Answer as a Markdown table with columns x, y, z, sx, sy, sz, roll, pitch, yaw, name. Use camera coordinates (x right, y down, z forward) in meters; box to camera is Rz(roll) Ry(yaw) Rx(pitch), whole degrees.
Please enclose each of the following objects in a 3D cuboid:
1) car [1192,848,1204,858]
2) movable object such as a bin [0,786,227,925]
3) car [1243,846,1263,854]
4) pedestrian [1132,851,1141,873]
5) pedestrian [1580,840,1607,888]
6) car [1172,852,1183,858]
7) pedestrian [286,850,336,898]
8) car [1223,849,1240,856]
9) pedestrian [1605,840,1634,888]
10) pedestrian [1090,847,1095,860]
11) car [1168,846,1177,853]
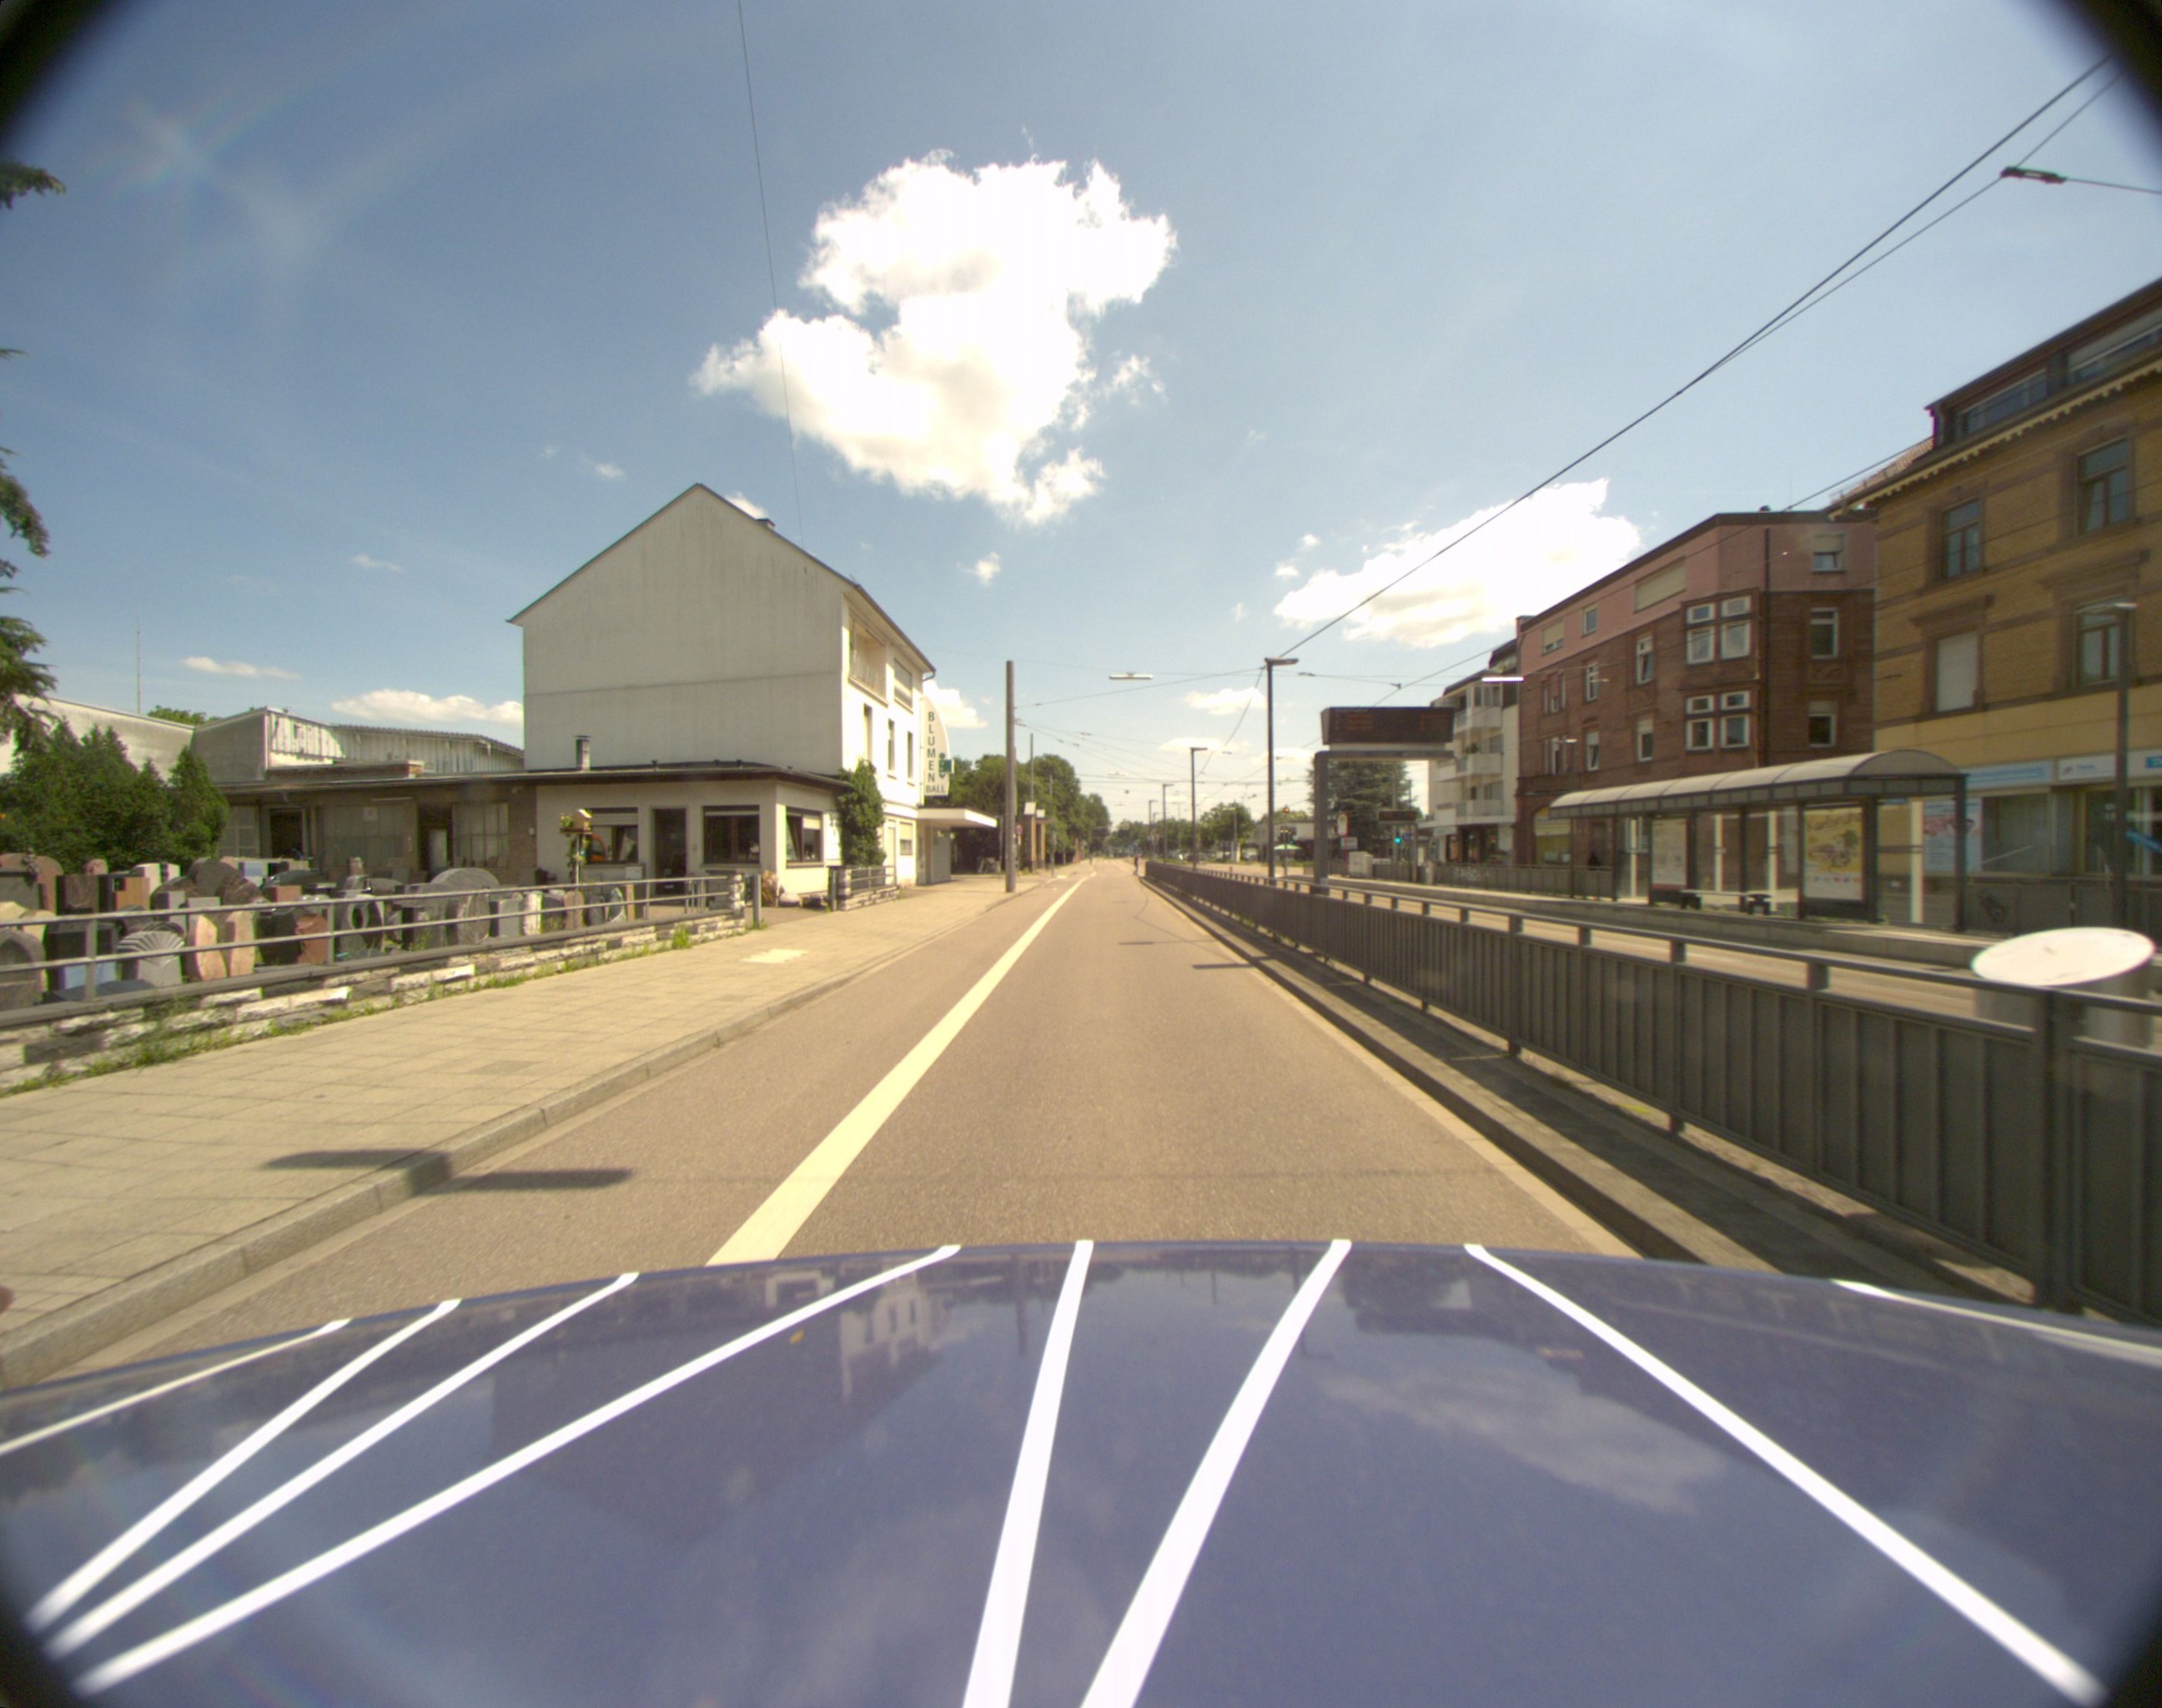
| x | y | z | sx | sy | sz | roll | pitch | yaw | name |
| --- | --- | --- | --- | --- | --- | --- | --- | --- | --- |
| 21.536 | -0.195 | 140.066 | 1.727 | 1.673 | 4.280 | 1 | 0 | 3 | car |
| -20.957 | -0.019 | 15.910 | 1.743 | 2.604 | 3.809 | 2 | 1 | 3 | movable object such as a bin |
| 52.629 | -1.265 | 233.004 | 5.697 | 2.467 | 2.259 | 0 | 1 | -1 | car |
| 3.987 | 0.552 | 54.096 | 0.578 | 1.547 | 0.786 | 2 | 2 | 5 | pedestrian |
| 21.683 | 0.399 | 32.147 | 0.678 | 2.002 | 0.684 | -1 | 1 | 0 | pedestrian |
| 21.115 | 0.205 | 165.915 | 1.998 | 1.463 | 4.401 | 0 | 0 | 1 | car |
| -21.344 | 0.539 | 21.067 | 0.646 | 1.283 | 0.717 | 2 | 2 | 2 | pedestrian |
| 37.908 | -0.465 | 191.092 | 3.996 | 1.726 | 1.903 | 0 | 1 | 3 | car |
| 22.707 | 0.422 | 32.062 | 0.619 | 2.002 | 0.810 | 0 | 1 | 0 | pedestrian |
| 1.690 | -0.037 | 111.997 | 0.767 | 1.841 | 0.717 | 0 | 1 | -1 | pedestrian |
| 28.234 | -1.362 | 233.814 | 2.071 | 2.089 | 4.488 | -2 | 1 | 0 | car |
